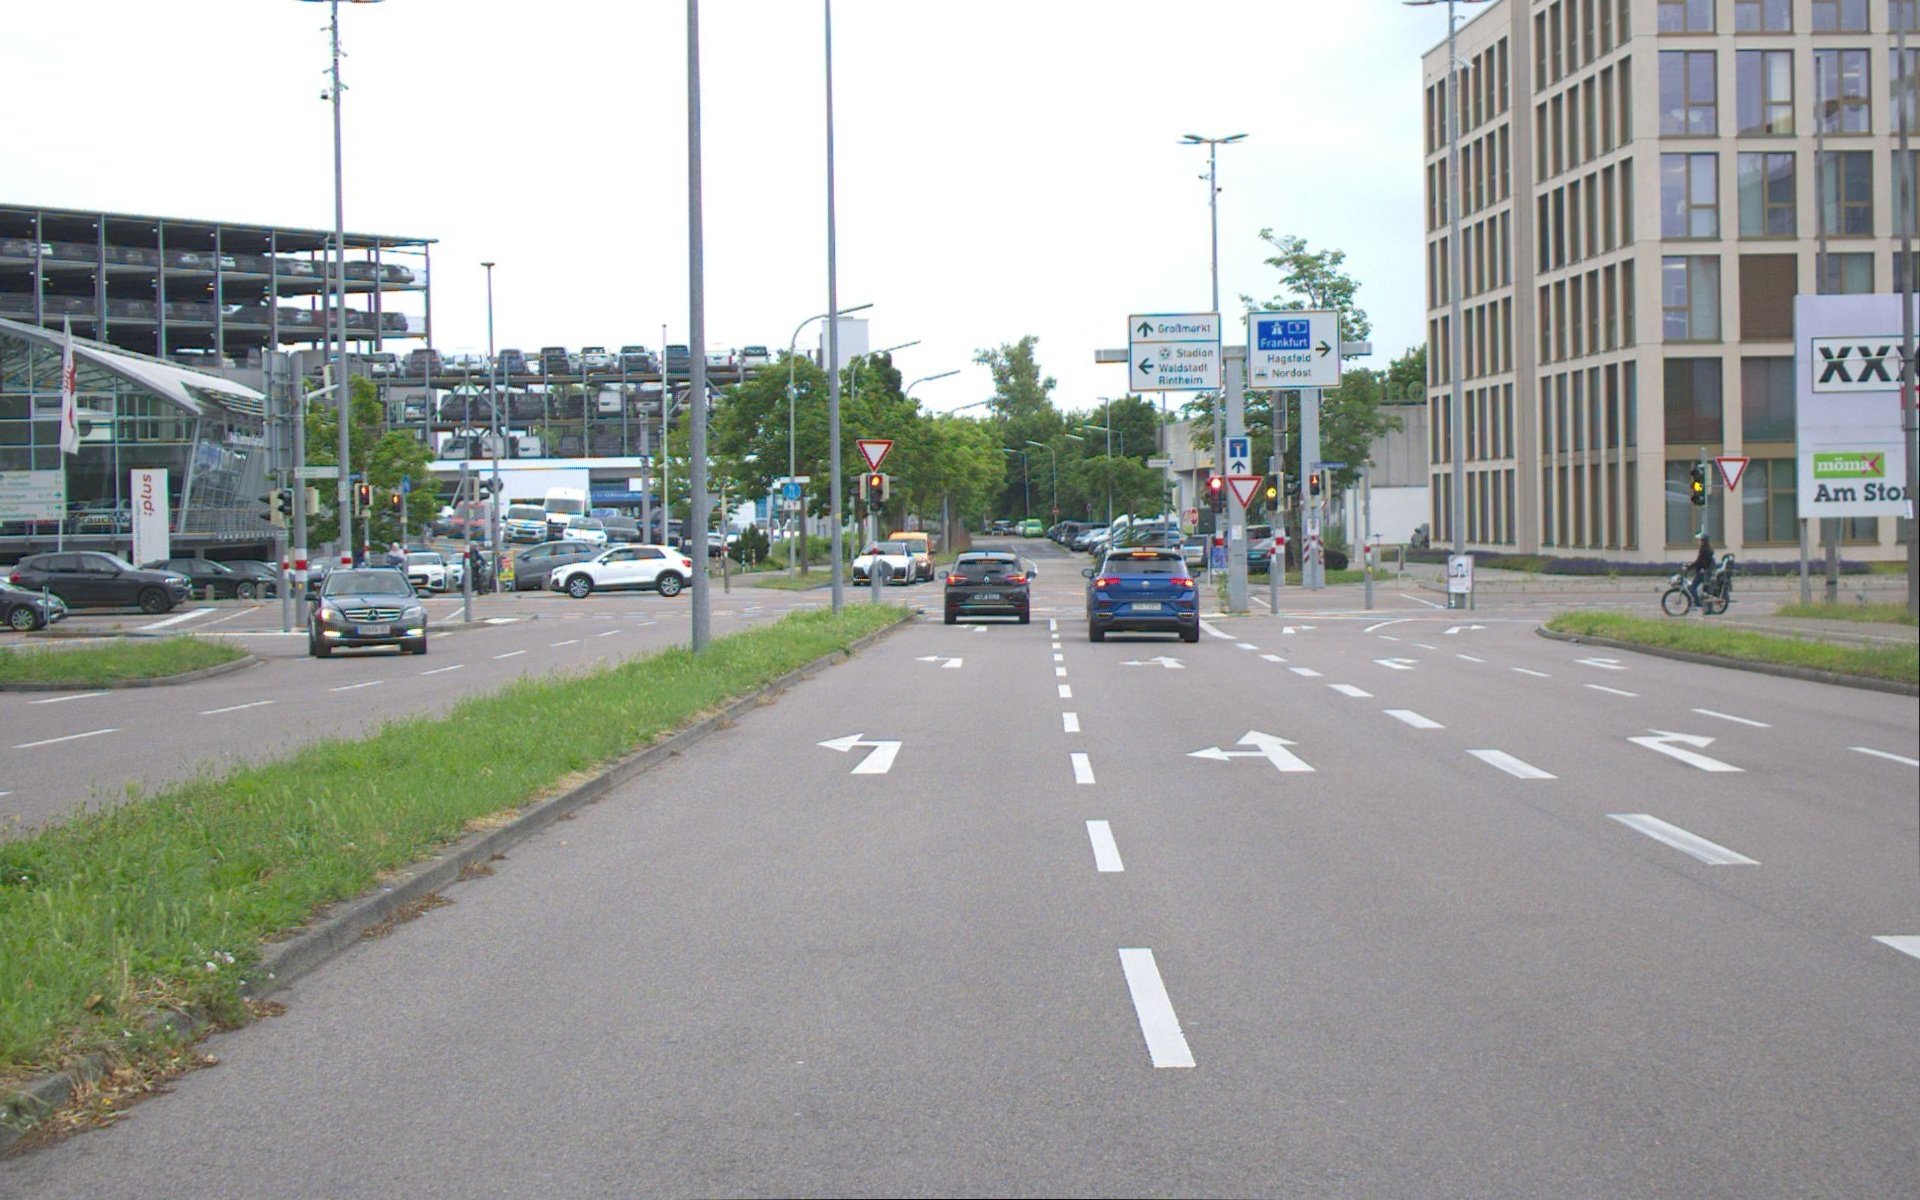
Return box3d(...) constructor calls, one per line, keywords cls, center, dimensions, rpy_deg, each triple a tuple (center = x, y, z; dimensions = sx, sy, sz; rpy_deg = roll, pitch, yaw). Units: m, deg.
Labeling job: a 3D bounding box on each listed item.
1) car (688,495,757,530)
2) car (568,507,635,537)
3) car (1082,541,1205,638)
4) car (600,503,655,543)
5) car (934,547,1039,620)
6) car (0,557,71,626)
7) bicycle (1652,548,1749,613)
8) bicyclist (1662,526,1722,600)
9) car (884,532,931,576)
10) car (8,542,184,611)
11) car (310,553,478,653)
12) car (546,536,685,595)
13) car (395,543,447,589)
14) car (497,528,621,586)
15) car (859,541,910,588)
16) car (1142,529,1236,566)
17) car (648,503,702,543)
box3d(cls="car", center=(-11.621, -4.293, 168.083), dimensions=(3.295, 1.635, 1.480), rpy_deg=(-1, 3, -2))
box3d(cls="car", center=(-19.700, -4.295, 188.977), dimensions=(3.662, 1.523, 1.615), rpy_deg=(-1, 3, -6))
box3d(cls="car", center=(3.012, -0.206, 57.167), dimensions=(1.835, 1.509, 4.000), rpy_deg=(0, 2, 0))
box3d(cls="car", center=(-15.268, -3.537, 157.971), dimensions=(1.776, 1.700, 3.916), rpy_deg=(0, 3, 5))
box3d(cls="car", center=(0.505, -0.326, 69.862), dimensions=(1.987, 1.423, 4.241), rpy_deg=(-1, 0, -1))
box3d(cls="car", center=(-23.946, -0.208, 83.258), dimensions=(4.415, 1.654, 2.000), rpy_deg=(0, 1, -6))
box3d(cls="bicycle", center=(15.238, -0.404, 70.776), dimensions=(0.700, 1.291, 2.011), rpy_deg=(-1, 2, -35))
box3d(cls="bicyclist", center=(15.100, -0.766, 70.948), dimensions=(0.700, 1.498, 1.000), rpy_deg=(-1, 2, -36))
box3d(cls="car", center=(-1.902, -1.694, 125.805), dimensions=(1.600, 1.448, 3.324), rpy_deg=(-1, 3, 1))
box3d(cls="car", center=(-22.589, -0.626, 90.046), dimensions=(4.401, 1.638, 2.001), rpy_deg=(-1, 3, -13))
box3d(cls="car", center=(-9.290, 0.022, 56.724), dimensions=(1.791, 1.474, 4.531), rpy_deg=(-2, 1, 2))
box3d(cls="car", center=(-9.965, -1.010, 99.332), dimensions=(3.941, 1.562, 1.760), rpy_deg=(-1, 3, -7))
box3d(cls="car", center=(-17.084, -1.097, 108.934), dimensions=(1.370, 1.321, 3.035), rpy_deg=(-1, 3, -13))
box3d(cls="car", center=(-13.284, -1.439, 114.058), dimensions=(3.986, 1.784, 1.848), rpy_deg=(-1, 3, -4))
box3d(cls="car", center=(-2.577, -1.223, 117.681), dimensions=(1.600, 1.448, 3.324), rpy_deg=(-1, 3, 1))
box3d(cls="car", center=(9.630, -2.203, 144.661), dimensions=(3.607, 1.473, 1.758), rpy_deg=(1, 3, 21))
box3d(cls="car", center=(-13.078, -3.560, 157.976), dimensions=(1.776, 1.700, 3.916), rpy_deg=(0, 3, 5))
